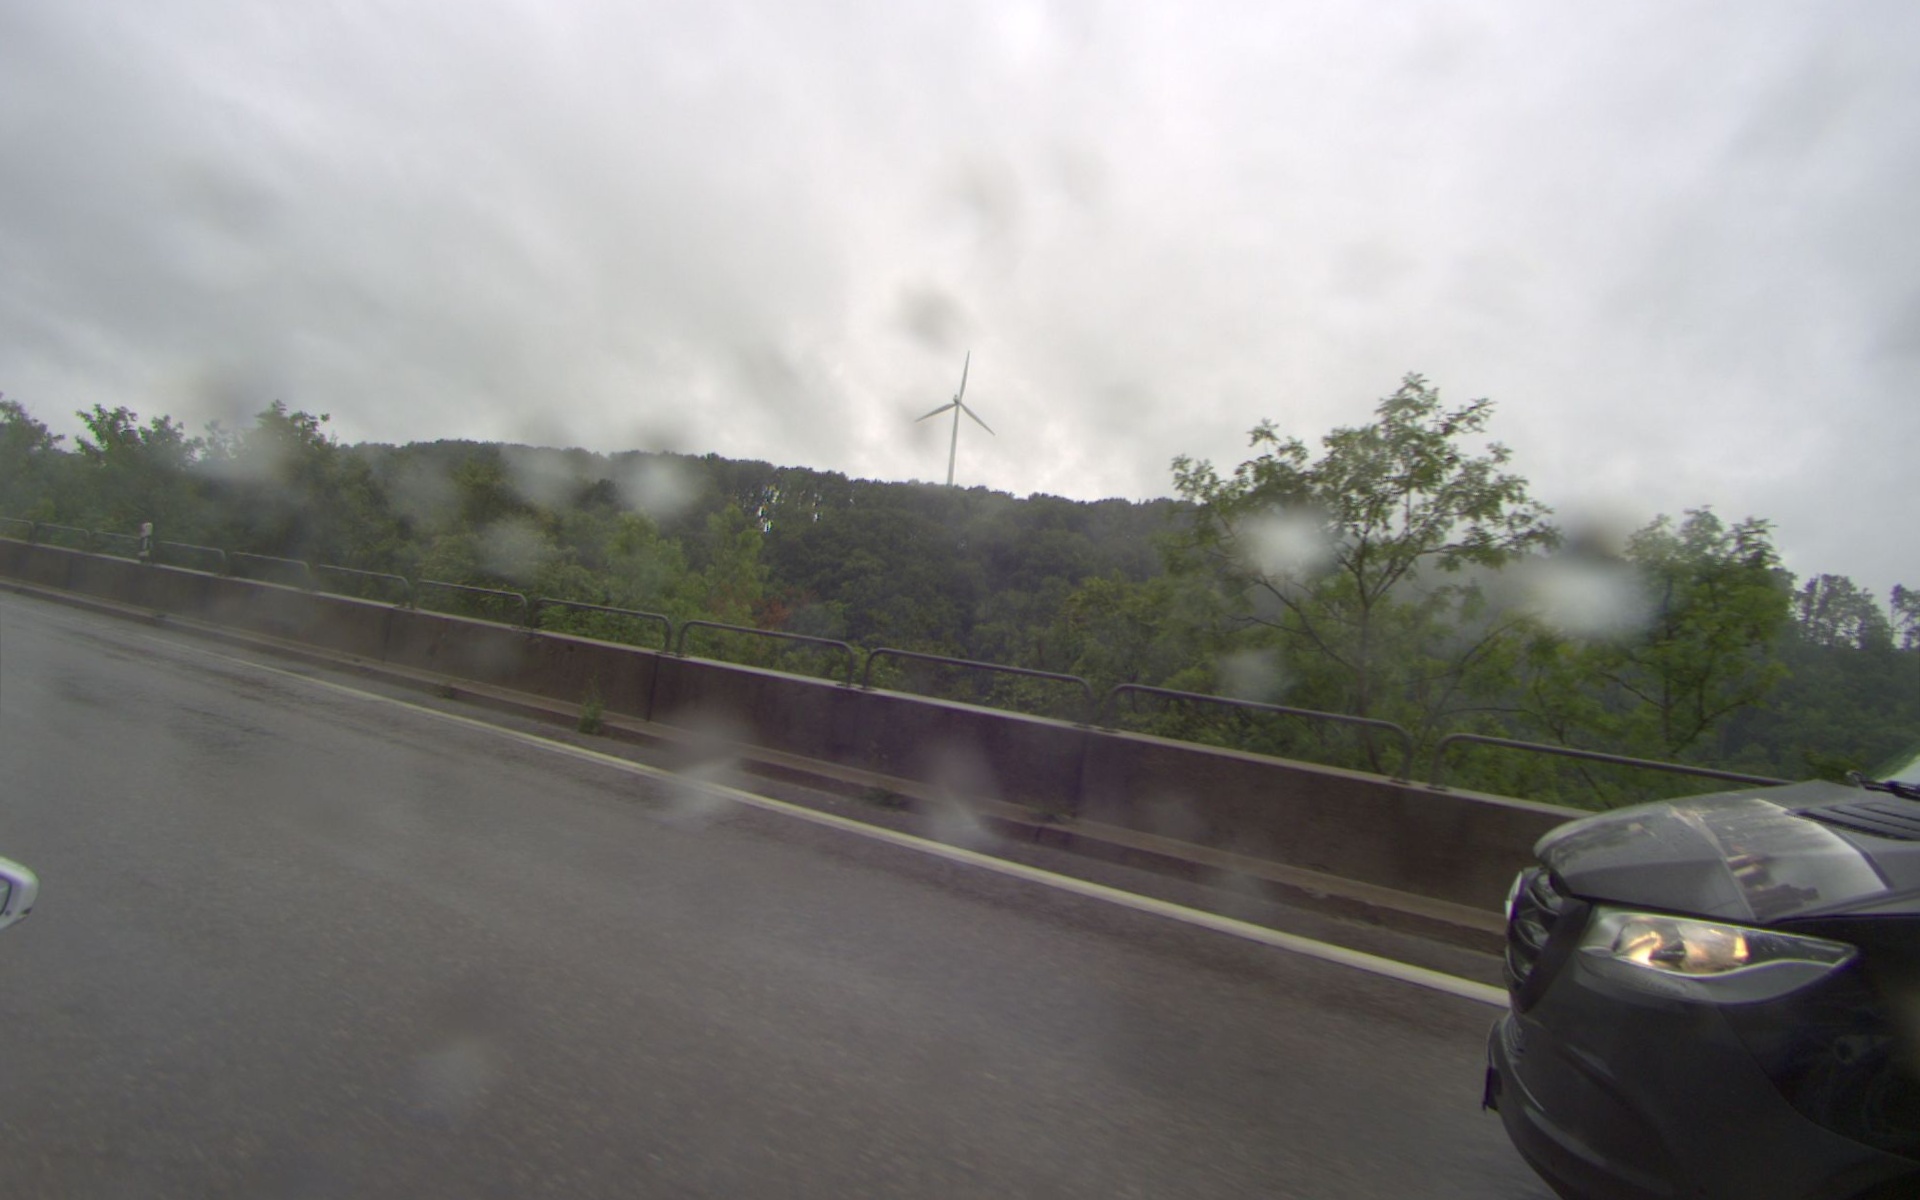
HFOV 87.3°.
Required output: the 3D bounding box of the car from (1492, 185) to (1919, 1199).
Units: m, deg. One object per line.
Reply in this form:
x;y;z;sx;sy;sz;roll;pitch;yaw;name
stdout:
4.587;0.843;1.344;6.593;2.524;1.997;7;0;31;car
